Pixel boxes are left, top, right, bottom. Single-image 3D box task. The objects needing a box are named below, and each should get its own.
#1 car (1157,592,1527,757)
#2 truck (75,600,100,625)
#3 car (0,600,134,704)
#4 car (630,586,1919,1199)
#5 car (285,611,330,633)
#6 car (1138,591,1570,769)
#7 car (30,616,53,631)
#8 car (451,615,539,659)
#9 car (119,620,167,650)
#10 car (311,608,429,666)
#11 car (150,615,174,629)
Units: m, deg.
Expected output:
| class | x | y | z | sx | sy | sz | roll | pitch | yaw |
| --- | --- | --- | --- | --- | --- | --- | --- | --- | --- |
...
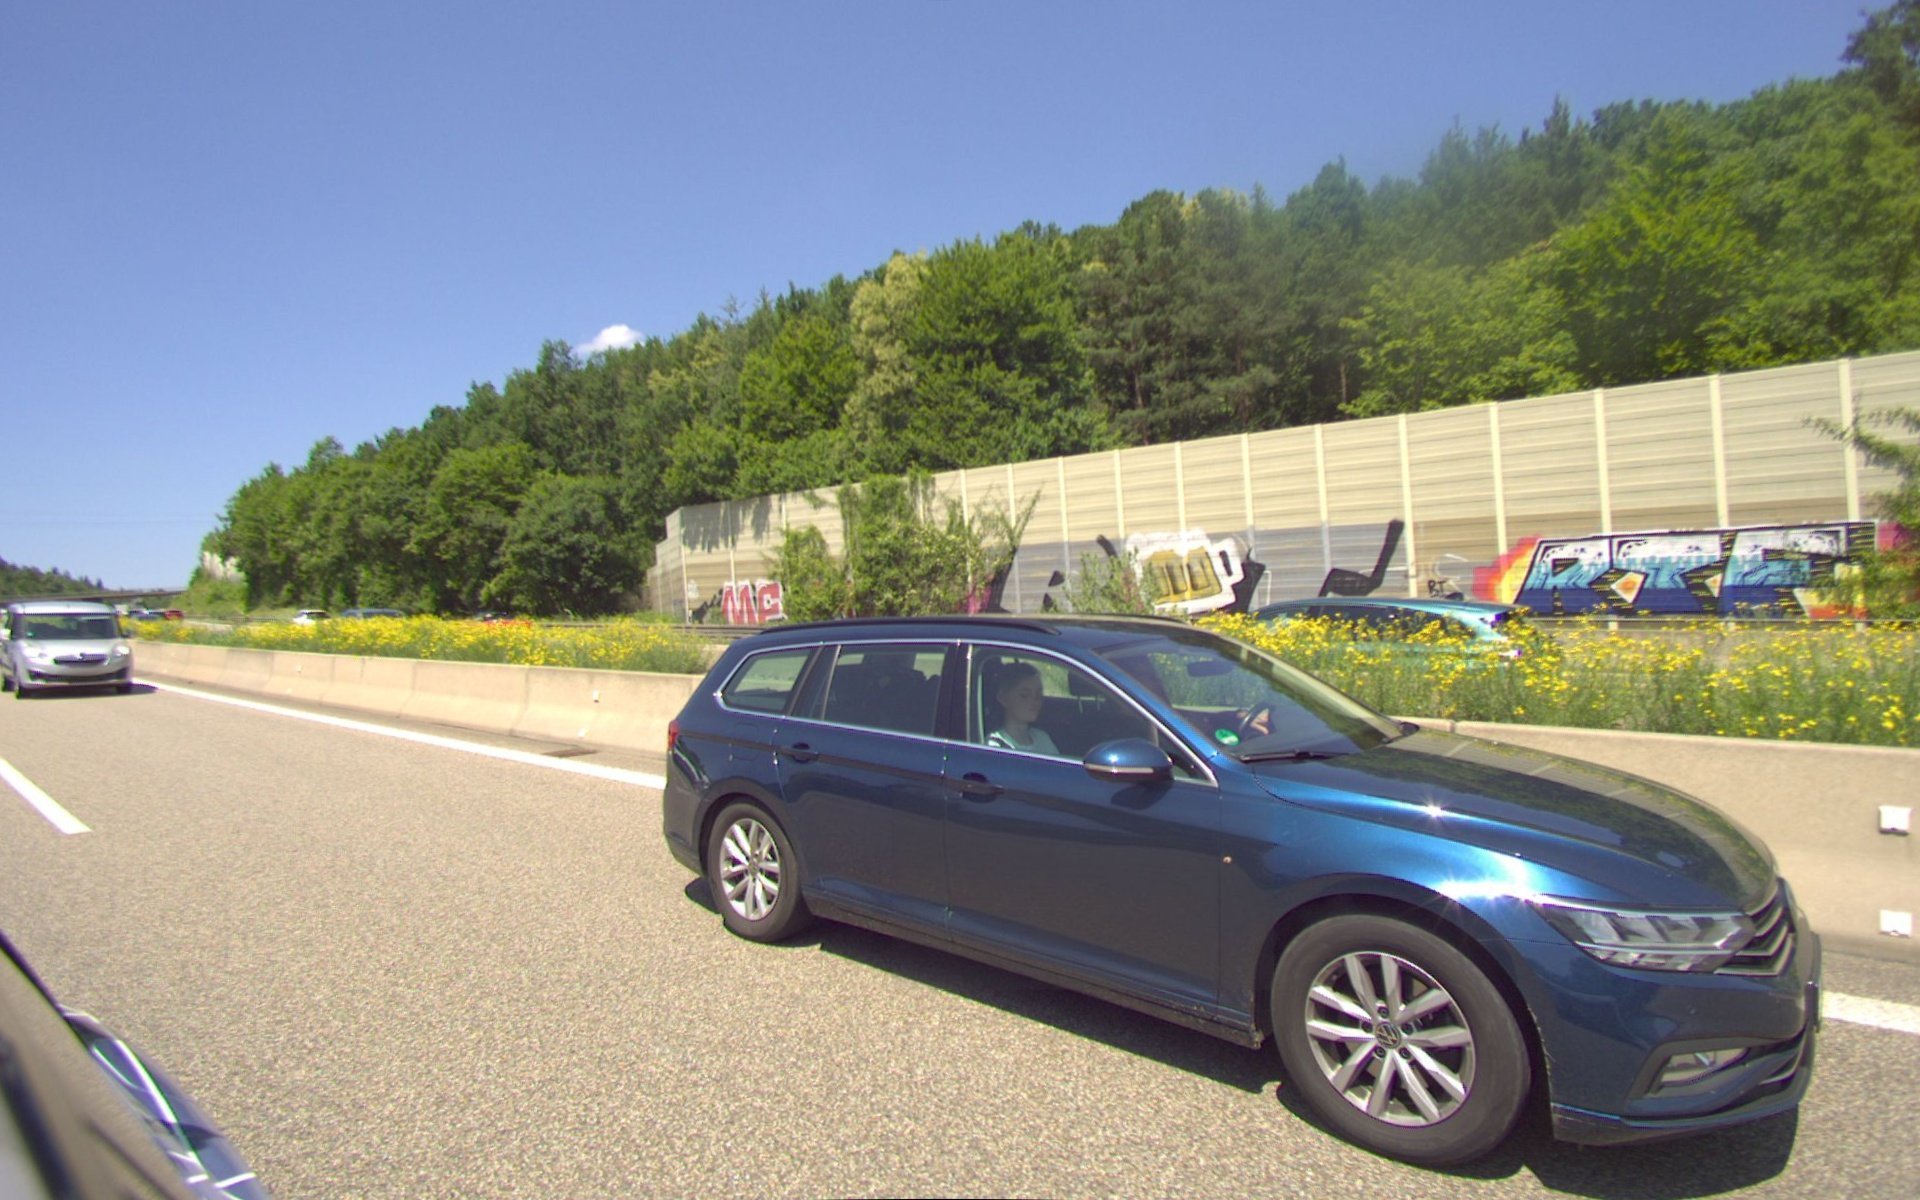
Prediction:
| class | x | y | z | sx | sy | sz | roll | pitch | yaw |
| --- | --- | --- | --- | --- | --- | --- | --- | --- | --- |
| car | 5.148 | 0.880 | 14.047 | 4.502 | 1.936 | 1.719 | 0 | 0 | 41 |
| truck | -122.948 | 1.755 | 142.603 | 6.026 | 3.532 | 1.972 | -1 | -1 | 43 |
| car | -17.995 | 0.960 | 20.229 | 4.000 | 1.858 | 1.757 | -1 | 0 | 43 |
| car | 0.711 | 0.716 | 4.060 | 4.728 | 1.438 | 1.714 | -1 | 0 | 42 |
| car | -45.822 | 1.554 | 71.057 | 4.313 | 1.493 | 1.612 | -1 | 0 | 43 |
| car | 3.851 | 0.682 | 10.239 | 3.751 | 1.478 | 1.600 | -1 | 0 | 41 |
| car | -127.867 | 3.209 | 140.933 | 3.998 | 2.029 | 1.973 | -1 | 0 | 41 |
| car | -18.864 | 1.443 | 41.006 | 4.187 | 1.652 | 1.721 | 0 | 0 | 42 |
| car | -47.698 | 2.008 | 59.053 | 3.711 | 1.663 | 1.625 | 0 | 0 | 42 |
| car | -17.820 | 1.076 | 30.460 | 4.713 | 1.589 | 1.728 | -1 | 0 | 42 |
| car | -99.373 | 2.725 | 126.019 | 4.000 | 1.647 | 1.708 | -1 | 0 | 43 |
